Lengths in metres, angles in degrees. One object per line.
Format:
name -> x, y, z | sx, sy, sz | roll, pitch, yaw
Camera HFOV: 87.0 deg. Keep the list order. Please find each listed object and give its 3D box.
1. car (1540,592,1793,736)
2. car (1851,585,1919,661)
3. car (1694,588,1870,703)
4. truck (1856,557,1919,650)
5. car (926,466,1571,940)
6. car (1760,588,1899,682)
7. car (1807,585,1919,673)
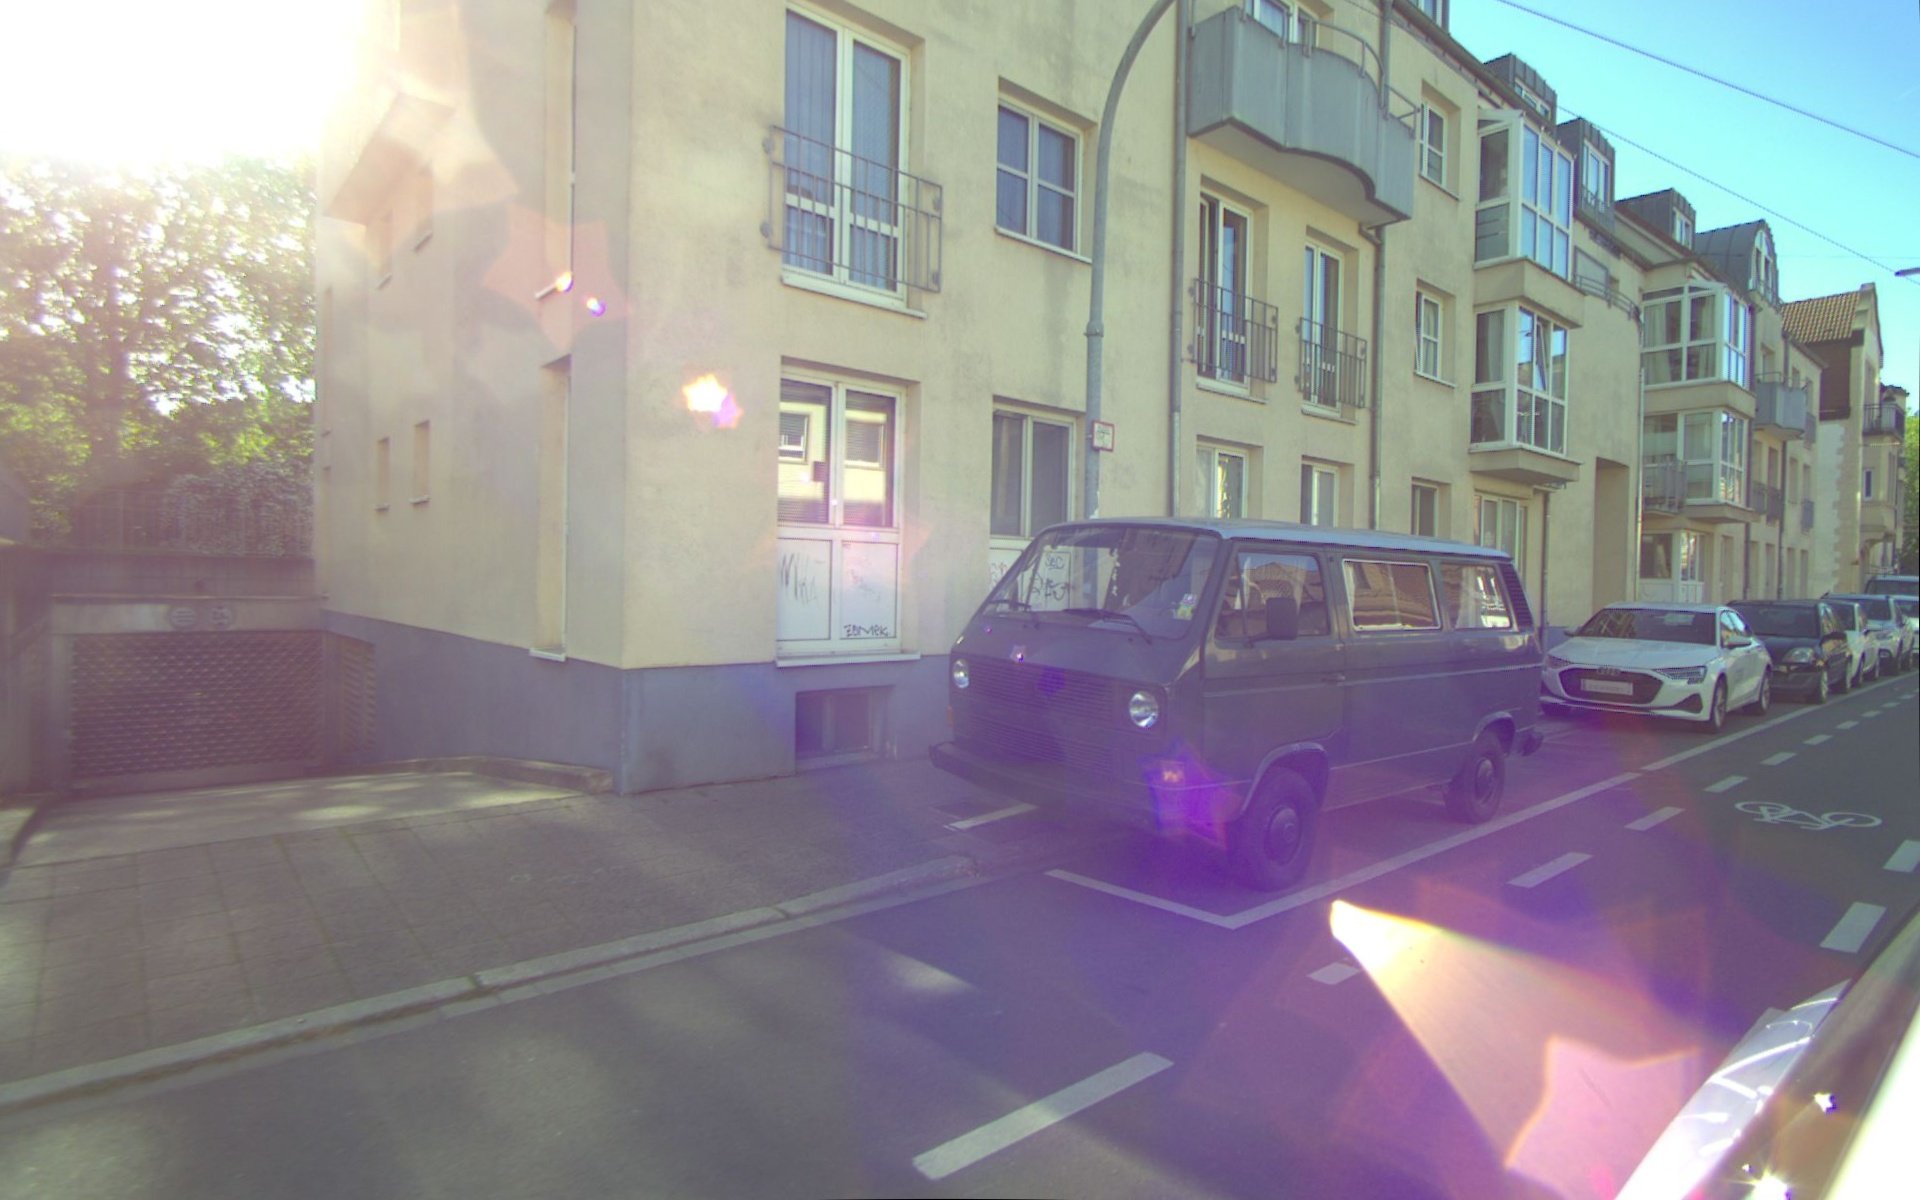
car -> 8.873, 0.674, 12.582 | 4.100, 1.510, 1.679 | 0, -1, -42
car -> 23.719, 0.538, 25.190 | 4.181, 1.769, 1.742 | 0, -1, -41
car -> 12.805, 0.626, 15.700 | 3.589, 1.577, 1.556 | 0, -1, -42
truck -> 28.163, 0.096, 29.472 | 6.038, 2.508, 2.300 | 0, 1, -41
car -> 2.104, 0.442, 6.527 | 4.484, 2.012, 1.908 | 0, -1, -42
car -> 15.947, 0.588, 18.524 | 3.306, 1.577, 1.498 | 0, -1, -42
car -> 19.635, 0.567, 21.716 | 3.919, 1.721, 1.605 | 0, -1, -41
